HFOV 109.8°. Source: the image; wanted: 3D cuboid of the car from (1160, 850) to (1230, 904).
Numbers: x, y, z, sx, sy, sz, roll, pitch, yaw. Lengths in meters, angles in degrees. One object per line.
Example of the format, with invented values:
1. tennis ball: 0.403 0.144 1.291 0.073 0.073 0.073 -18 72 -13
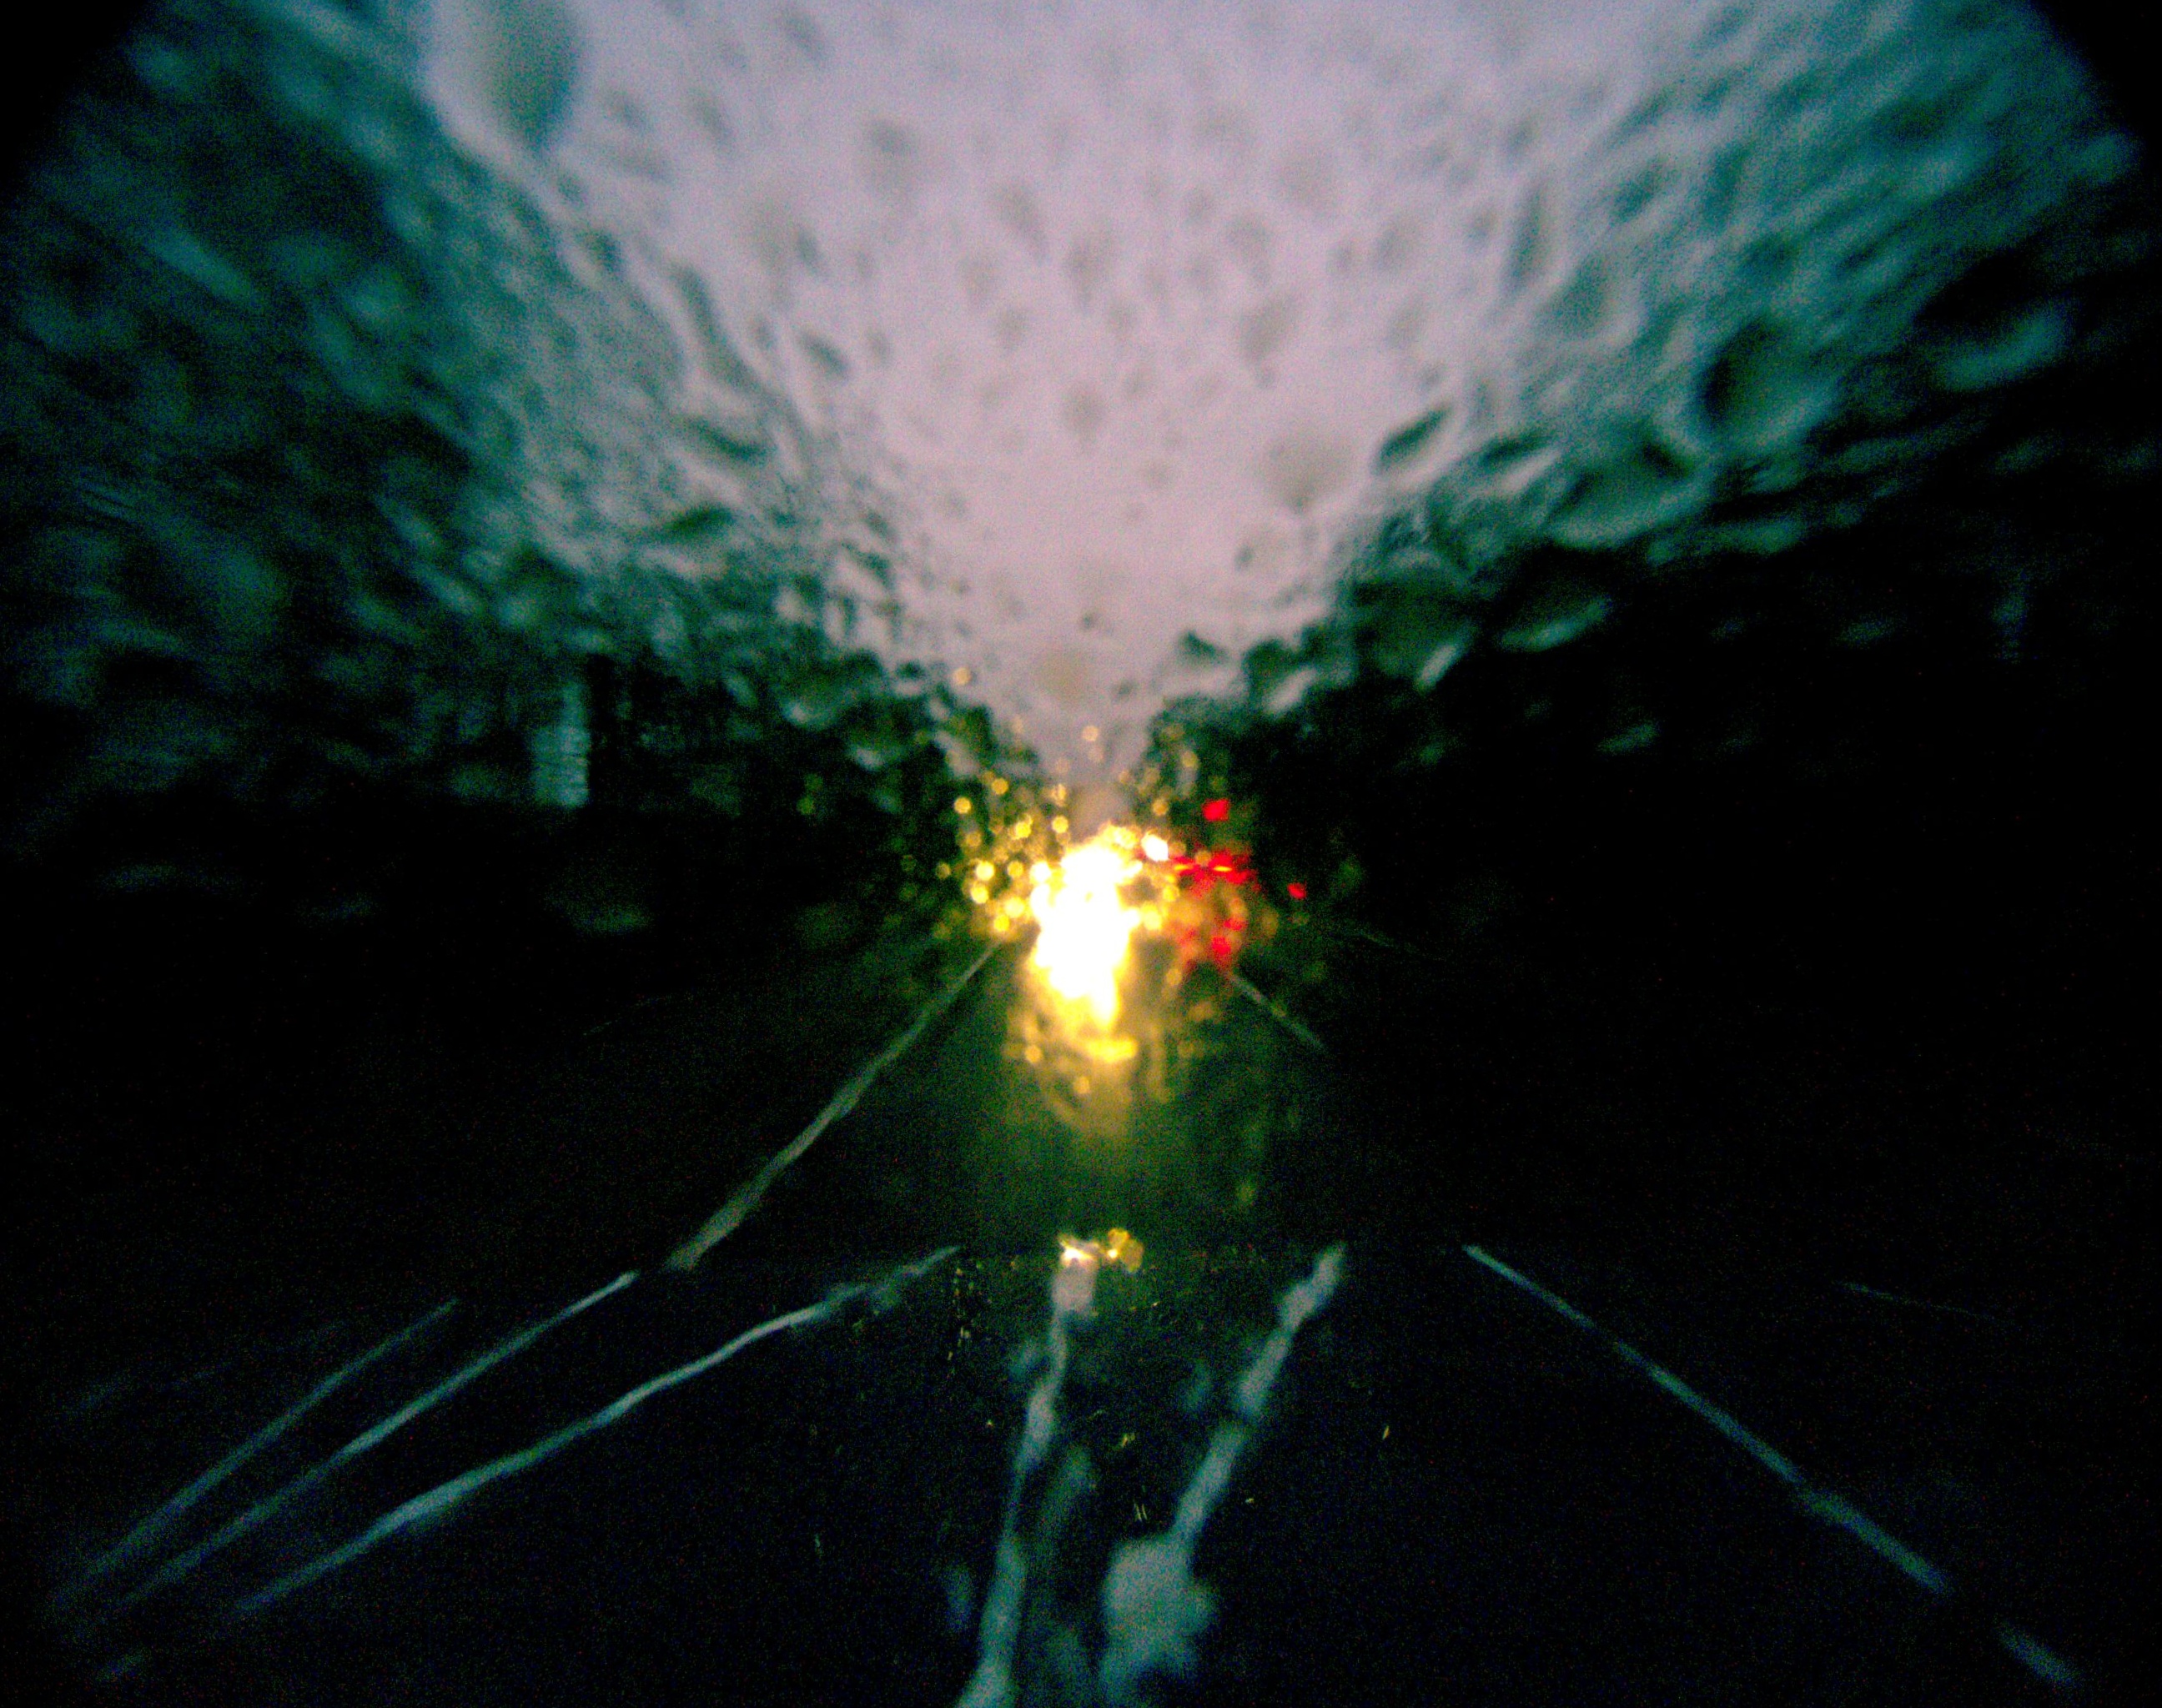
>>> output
1. car: 3.703 0.682 25.258 1.745 1.625 4.000 -1 1 1

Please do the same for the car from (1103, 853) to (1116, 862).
1. car: 4.417 0.513 118.396 1.803 1.453 4.176 0 0 1

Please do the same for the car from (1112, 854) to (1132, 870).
1. car: 3.935 0.708 73.228 1.769 1.449 4.507 -1 0 1

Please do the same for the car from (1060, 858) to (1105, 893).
1. car: 0.107 0.921 33.656 1.845 1.390 4.000 -1 0 1
